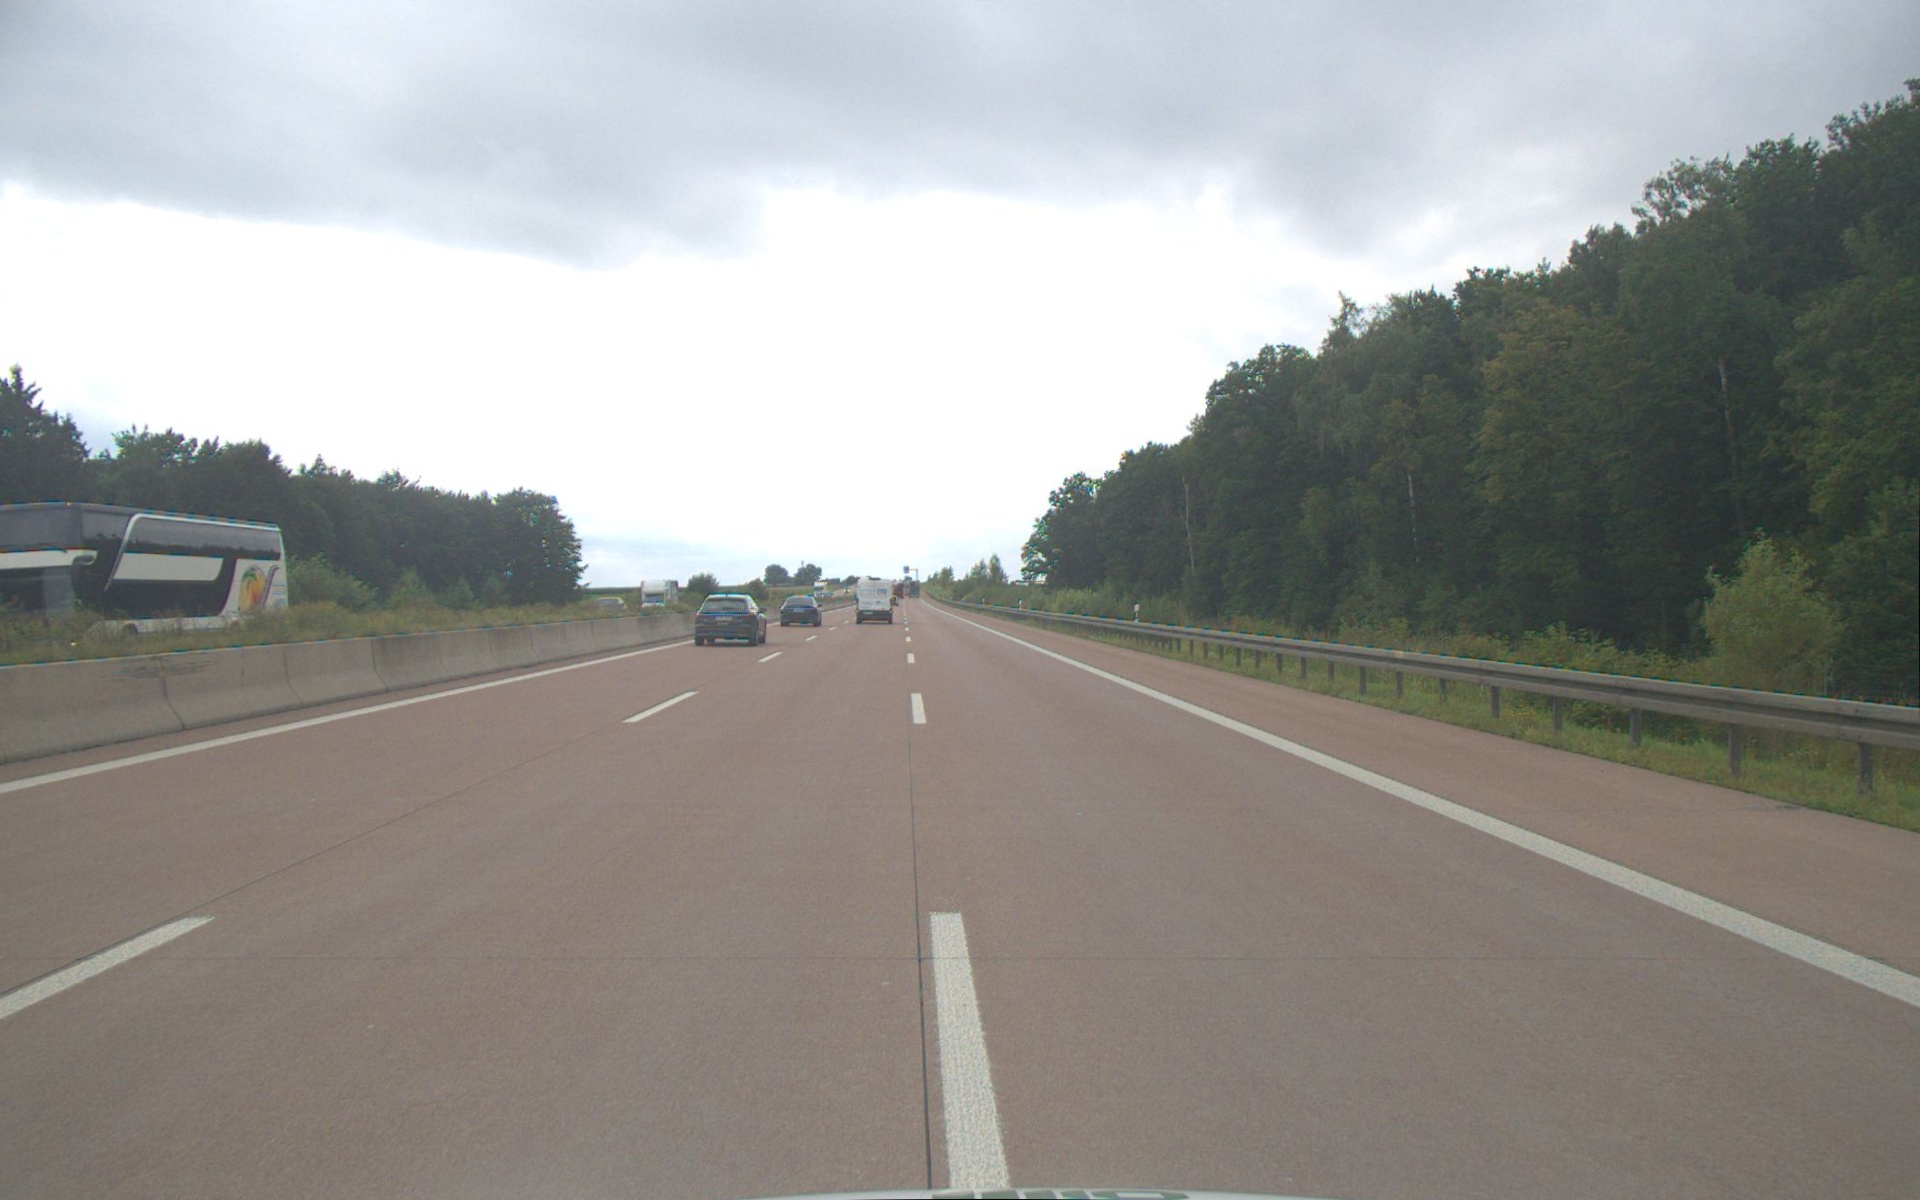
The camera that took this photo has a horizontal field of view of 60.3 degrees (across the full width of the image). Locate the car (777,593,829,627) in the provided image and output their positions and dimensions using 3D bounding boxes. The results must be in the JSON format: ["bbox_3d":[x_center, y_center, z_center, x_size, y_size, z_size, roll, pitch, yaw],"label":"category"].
[{"bbox_3d":[-7.698,0.471,81.639,2.042,1.577,5.674,1,1,0],"label":"car"}]

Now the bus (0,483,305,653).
[{"bbox_3d":[-22.140,-0.775,45.701,2.988,3.956,14.354,1,0,-3],"label":"bus"}]

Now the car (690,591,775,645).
[{"bbox_3d":[-6.860,0.514,50.309,2.017,1.517,5.450,0,0,-2],"label":"car"}]

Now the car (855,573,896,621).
[{"bbox_3d":[-4.631,-0.198,91.915,2.094,2.551,7.130,0,1,-1],"label":"car"}]

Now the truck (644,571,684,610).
[{"bbox_3d":[-25.512,-0.795,142.794,2.309,3.153,7.478,2,0,-2],"label":"truck"}]
